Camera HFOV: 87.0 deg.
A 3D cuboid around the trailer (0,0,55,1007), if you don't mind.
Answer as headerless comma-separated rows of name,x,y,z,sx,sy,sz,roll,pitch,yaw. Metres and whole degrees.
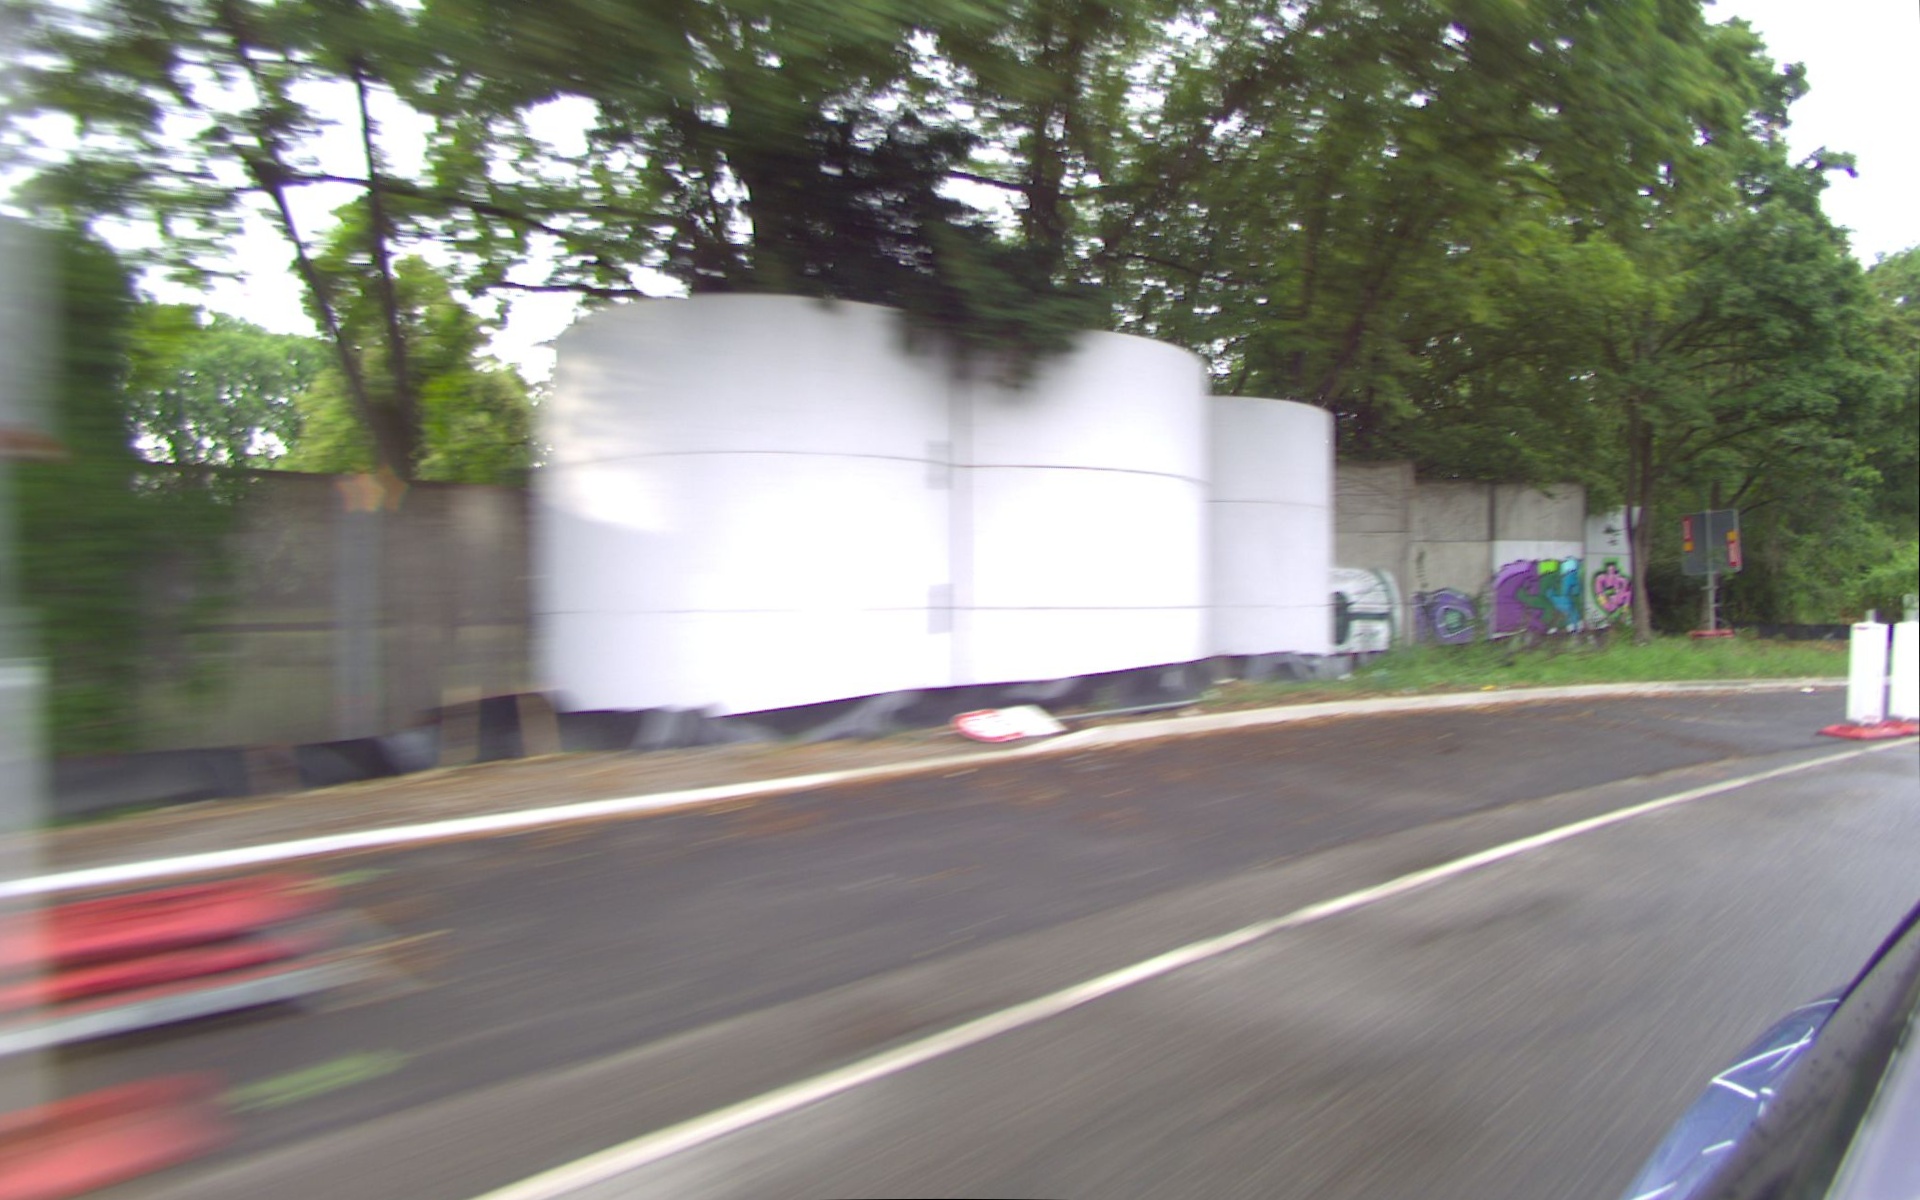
trailer,-5.675,-0.514,1.833,5.851,3.633,2.314,0,1,-38
